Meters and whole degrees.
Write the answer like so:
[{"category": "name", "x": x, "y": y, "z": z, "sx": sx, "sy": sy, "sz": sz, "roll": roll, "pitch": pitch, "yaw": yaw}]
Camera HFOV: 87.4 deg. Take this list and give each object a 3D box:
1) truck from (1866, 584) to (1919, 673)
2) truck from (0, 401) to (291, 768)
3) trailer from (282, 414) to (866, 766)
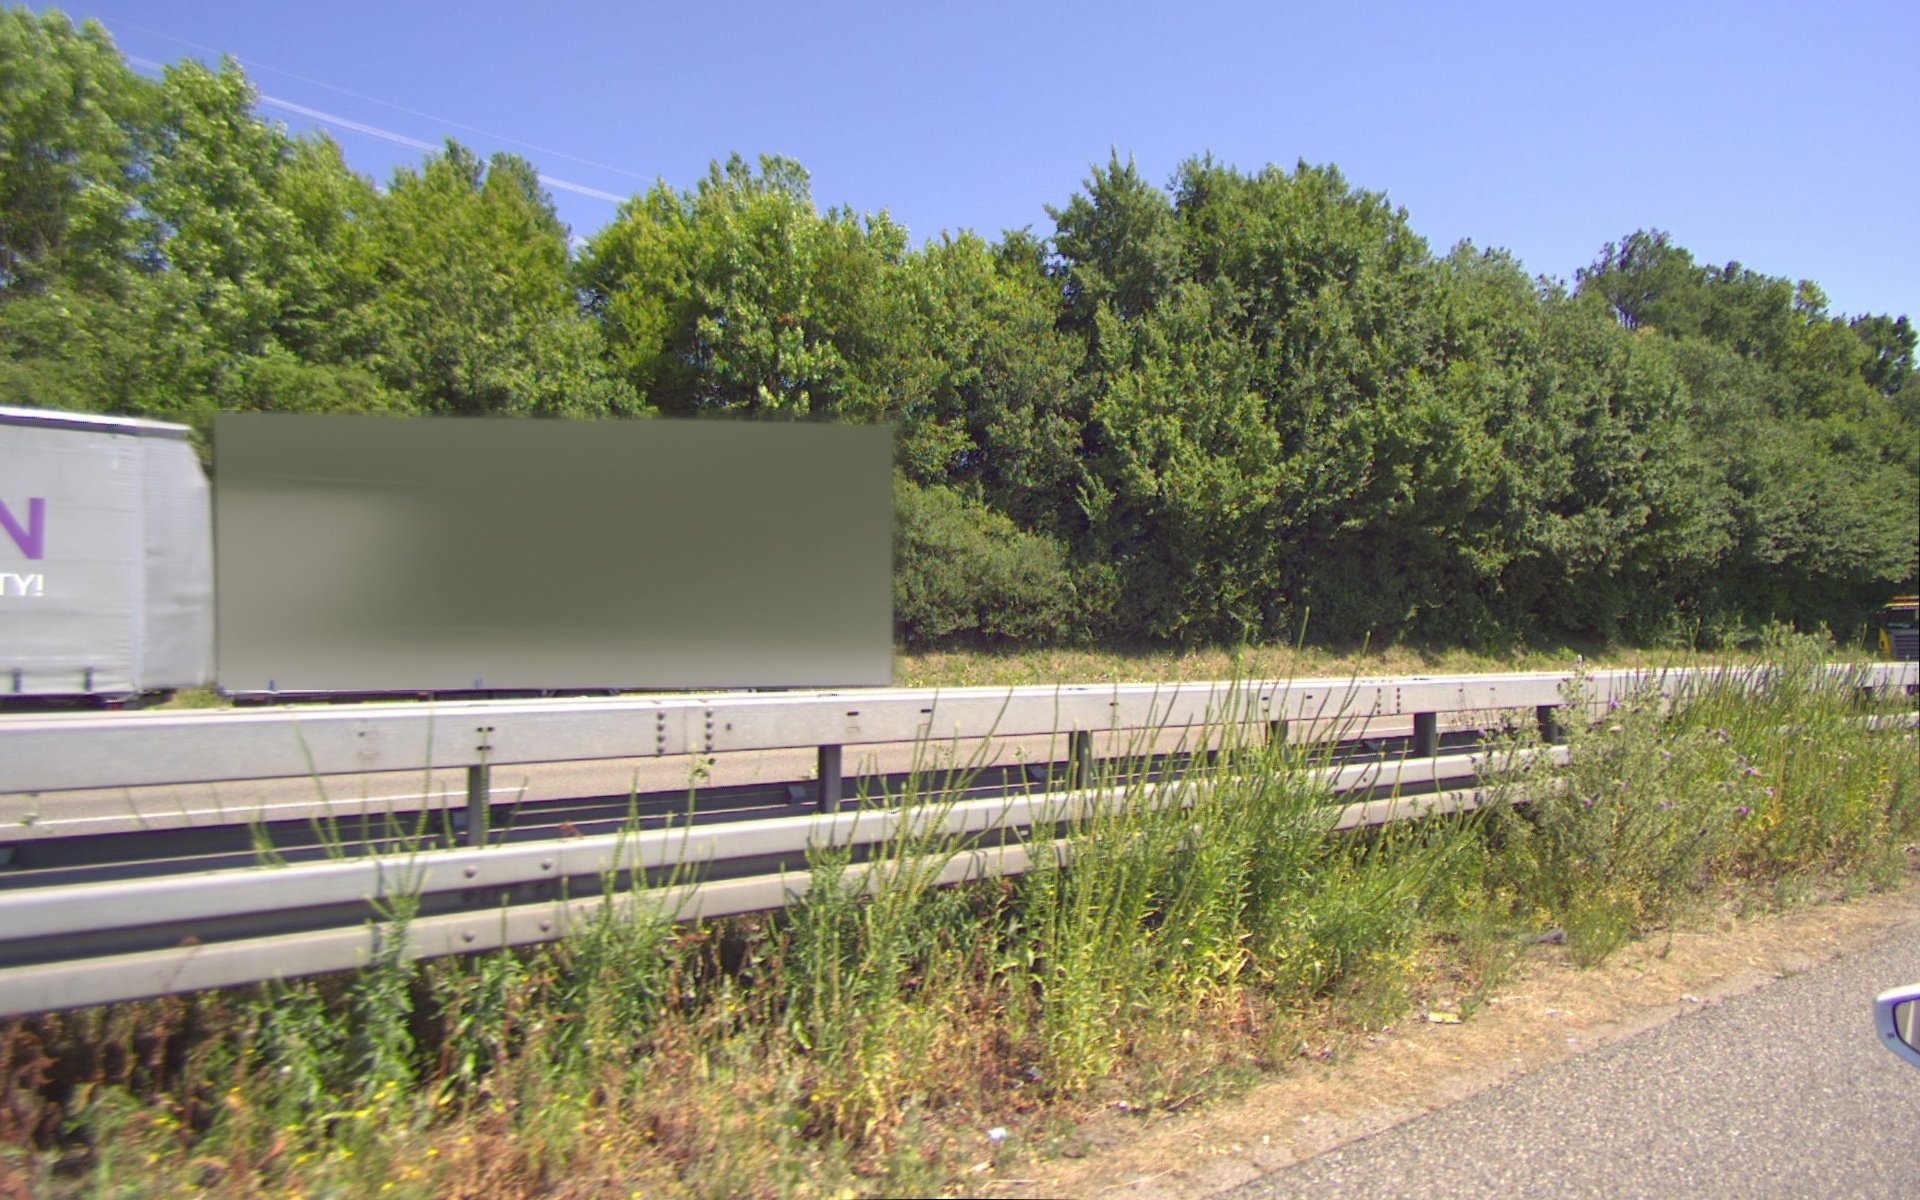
[{"category": "truck", "x": 45.495, "y": 1.375, "z": 46.067, "sx": 11.030, "sy": 3.788, "sz": 2.768, "roll": 2, "pitch": 0, "yaw": -31}, {"category": "truck", "x": -14.041, "y": -0.201, "z": 10.952, "sx": 10.999, "sy": 4.047, "sz": 3.435, "roll": 1, "pitch": -2, "yaw": -32}, {"category": "trailer", "x": -5.833, "y": -0.040, "z": 15.935, "sx": 7.881, "sy": 4.336, "sz": 3.435, "roll": 2, "pitch": 0, "yaw": -32}]
